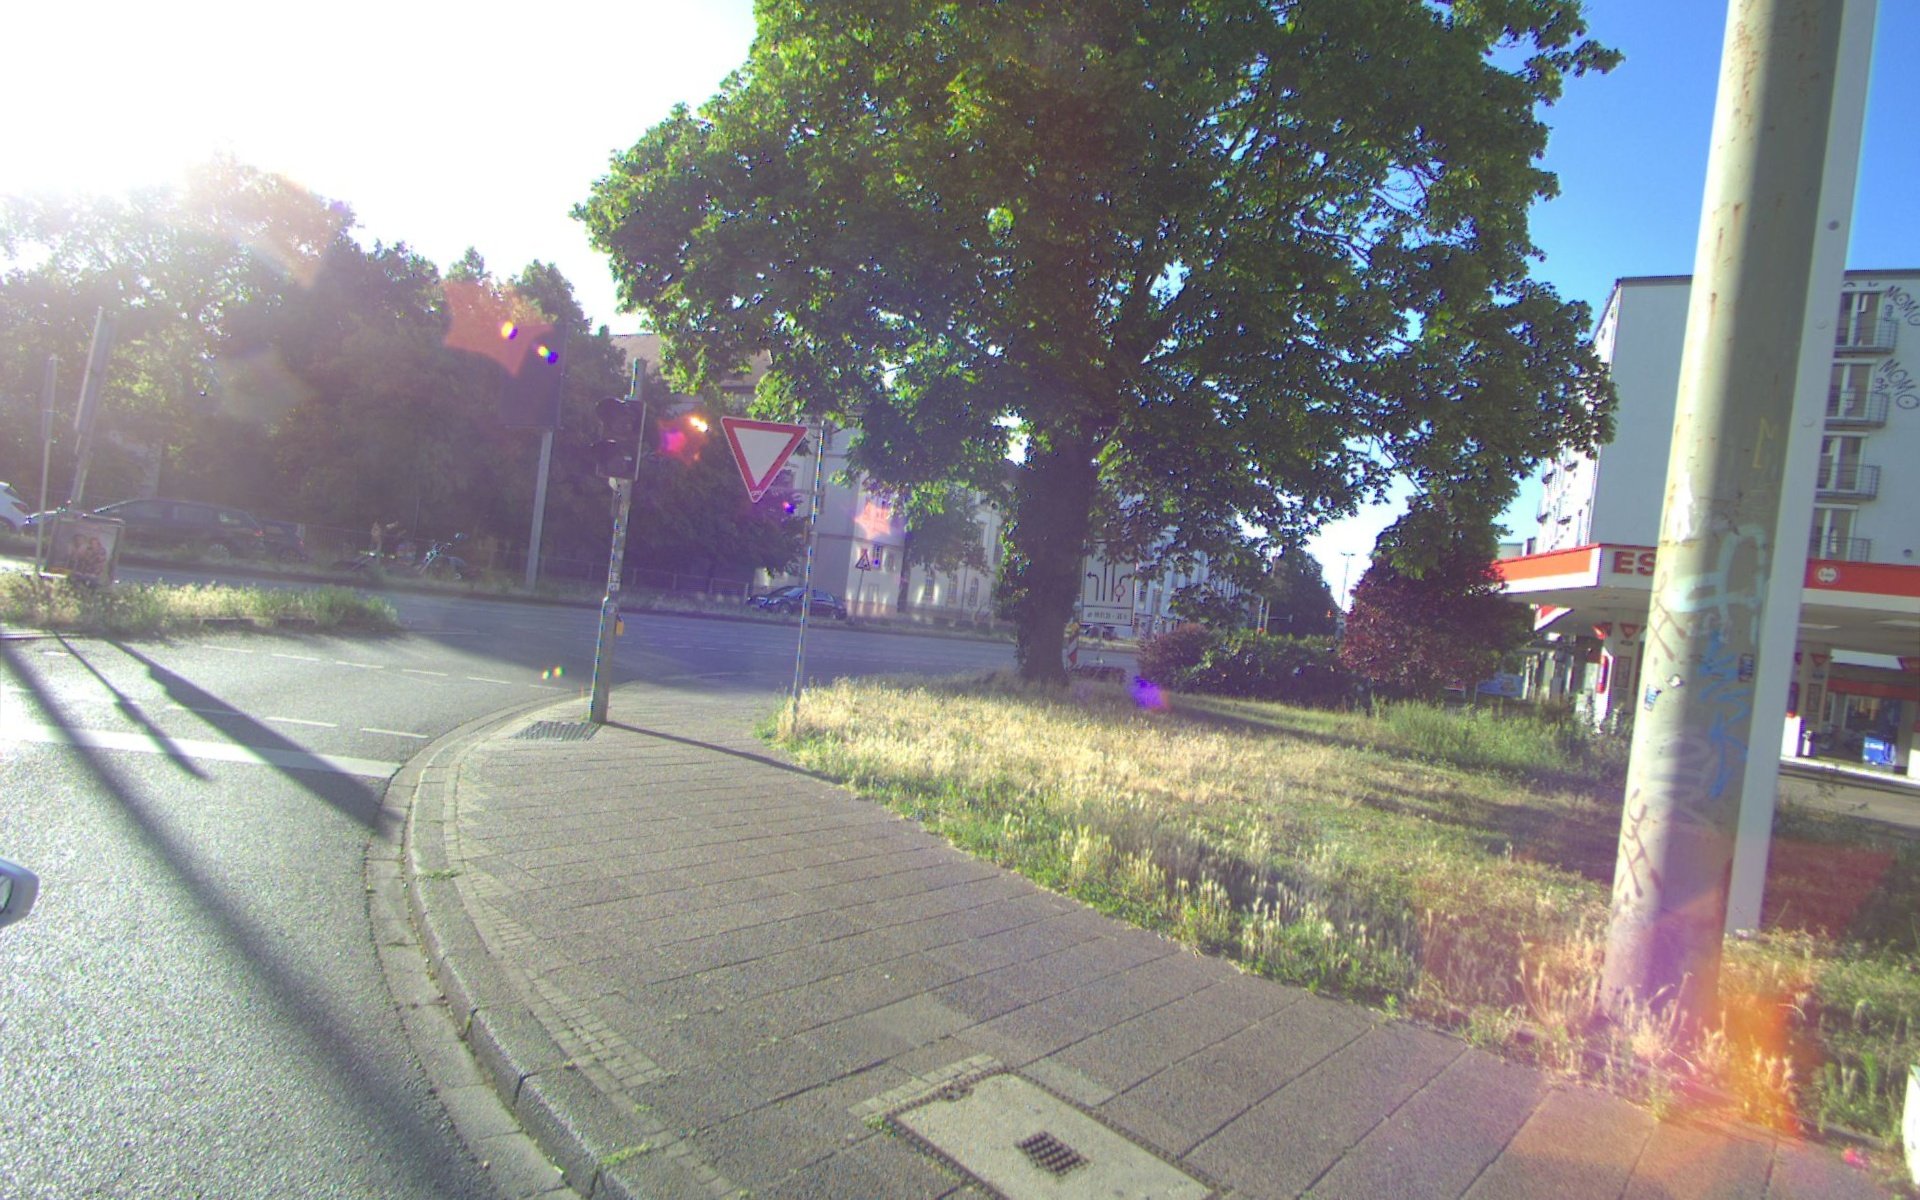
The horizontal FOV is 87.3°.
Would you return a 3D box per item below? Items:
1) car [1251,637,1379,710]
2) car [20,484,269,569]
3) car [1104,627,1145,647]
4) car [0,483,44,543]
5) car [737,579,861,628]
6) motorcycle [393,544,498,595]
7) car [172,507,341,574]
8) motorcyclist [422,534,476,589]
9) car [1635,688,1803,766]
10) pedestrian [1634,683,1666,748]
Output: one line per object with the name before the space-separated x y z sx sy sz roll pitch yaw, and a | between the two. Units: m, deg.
car | 9.562 1.996 26.937 1.680 1.593 3.980 7 0 43
car | -19.100 -1.692 23.701 4.351 1.312 1.702 8 0 -45
car | 19.632 4.445 120.176 4.312 1.854 2.000 7 0 20
car | -24.357 -2.304 23.758 1.701 1.335 3.874 7 0 43
car | -6.959 0.196 43.933 1.971 1.514 5.270 7 0 39
motorcycle | -14.702 -0.852 28.804 2.455 1.121 0.850 7 0 -45
car | -22.264 -1.850 31.949 1.832 1.482 3.984 8 0 39
motorcyclist | -14.646 -1.111 28.815 1.055 1.415 0.843 7 1 -44
car | 20.601 3.393 27.553 1.962 1.371 3.999 7 1 11
pedestrian | 19.035 3.173 27.771 0.413 1.726 0.420 7 1 11
